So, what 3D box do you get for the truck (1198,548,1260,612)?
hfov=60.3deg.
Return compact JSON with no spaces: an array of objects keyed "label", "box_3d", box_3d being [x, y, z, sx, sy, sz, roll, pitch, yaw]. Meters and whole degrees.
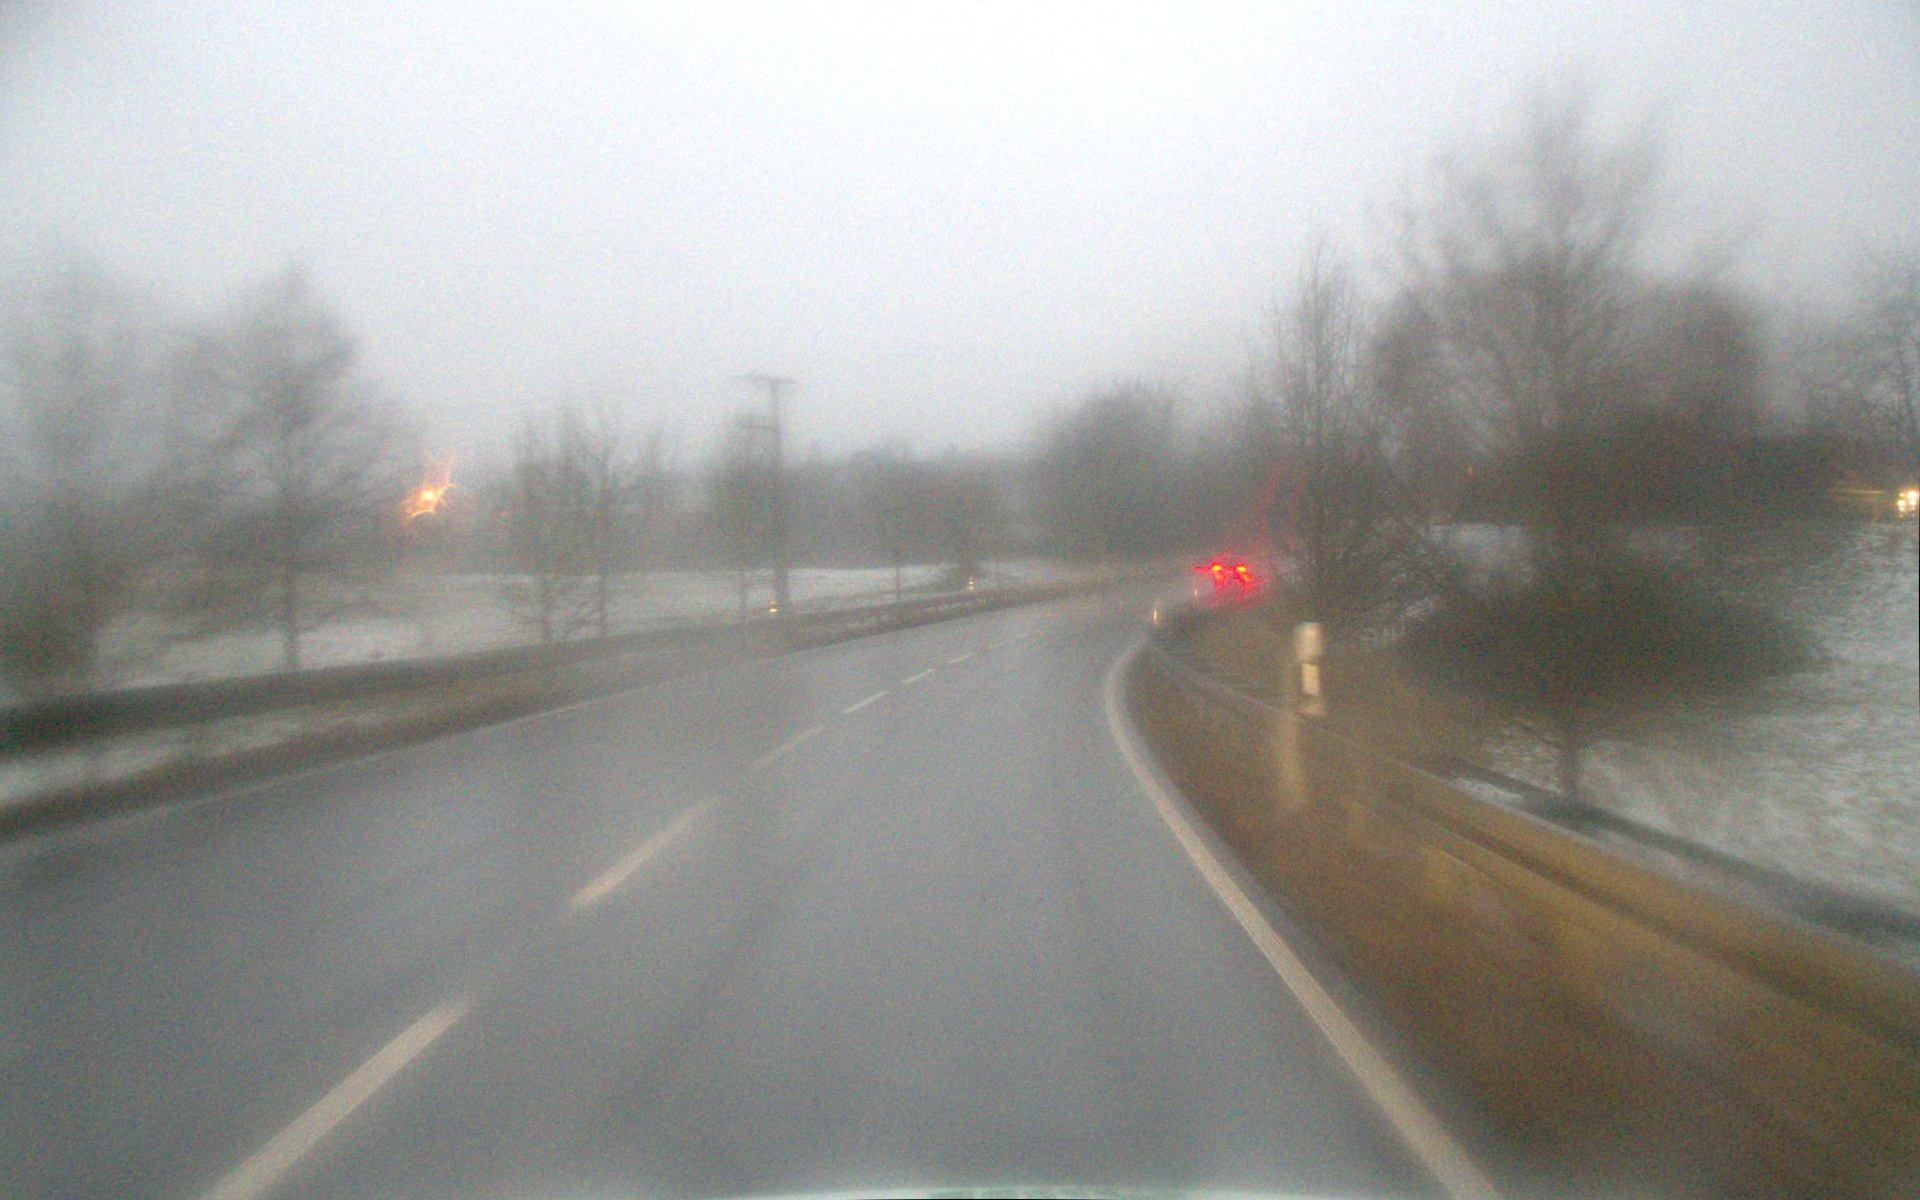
[{"label":"truck","box_3d":[13.788,-1.064,84.410,2.478,2.918,5.929,-1,3,15]}]
